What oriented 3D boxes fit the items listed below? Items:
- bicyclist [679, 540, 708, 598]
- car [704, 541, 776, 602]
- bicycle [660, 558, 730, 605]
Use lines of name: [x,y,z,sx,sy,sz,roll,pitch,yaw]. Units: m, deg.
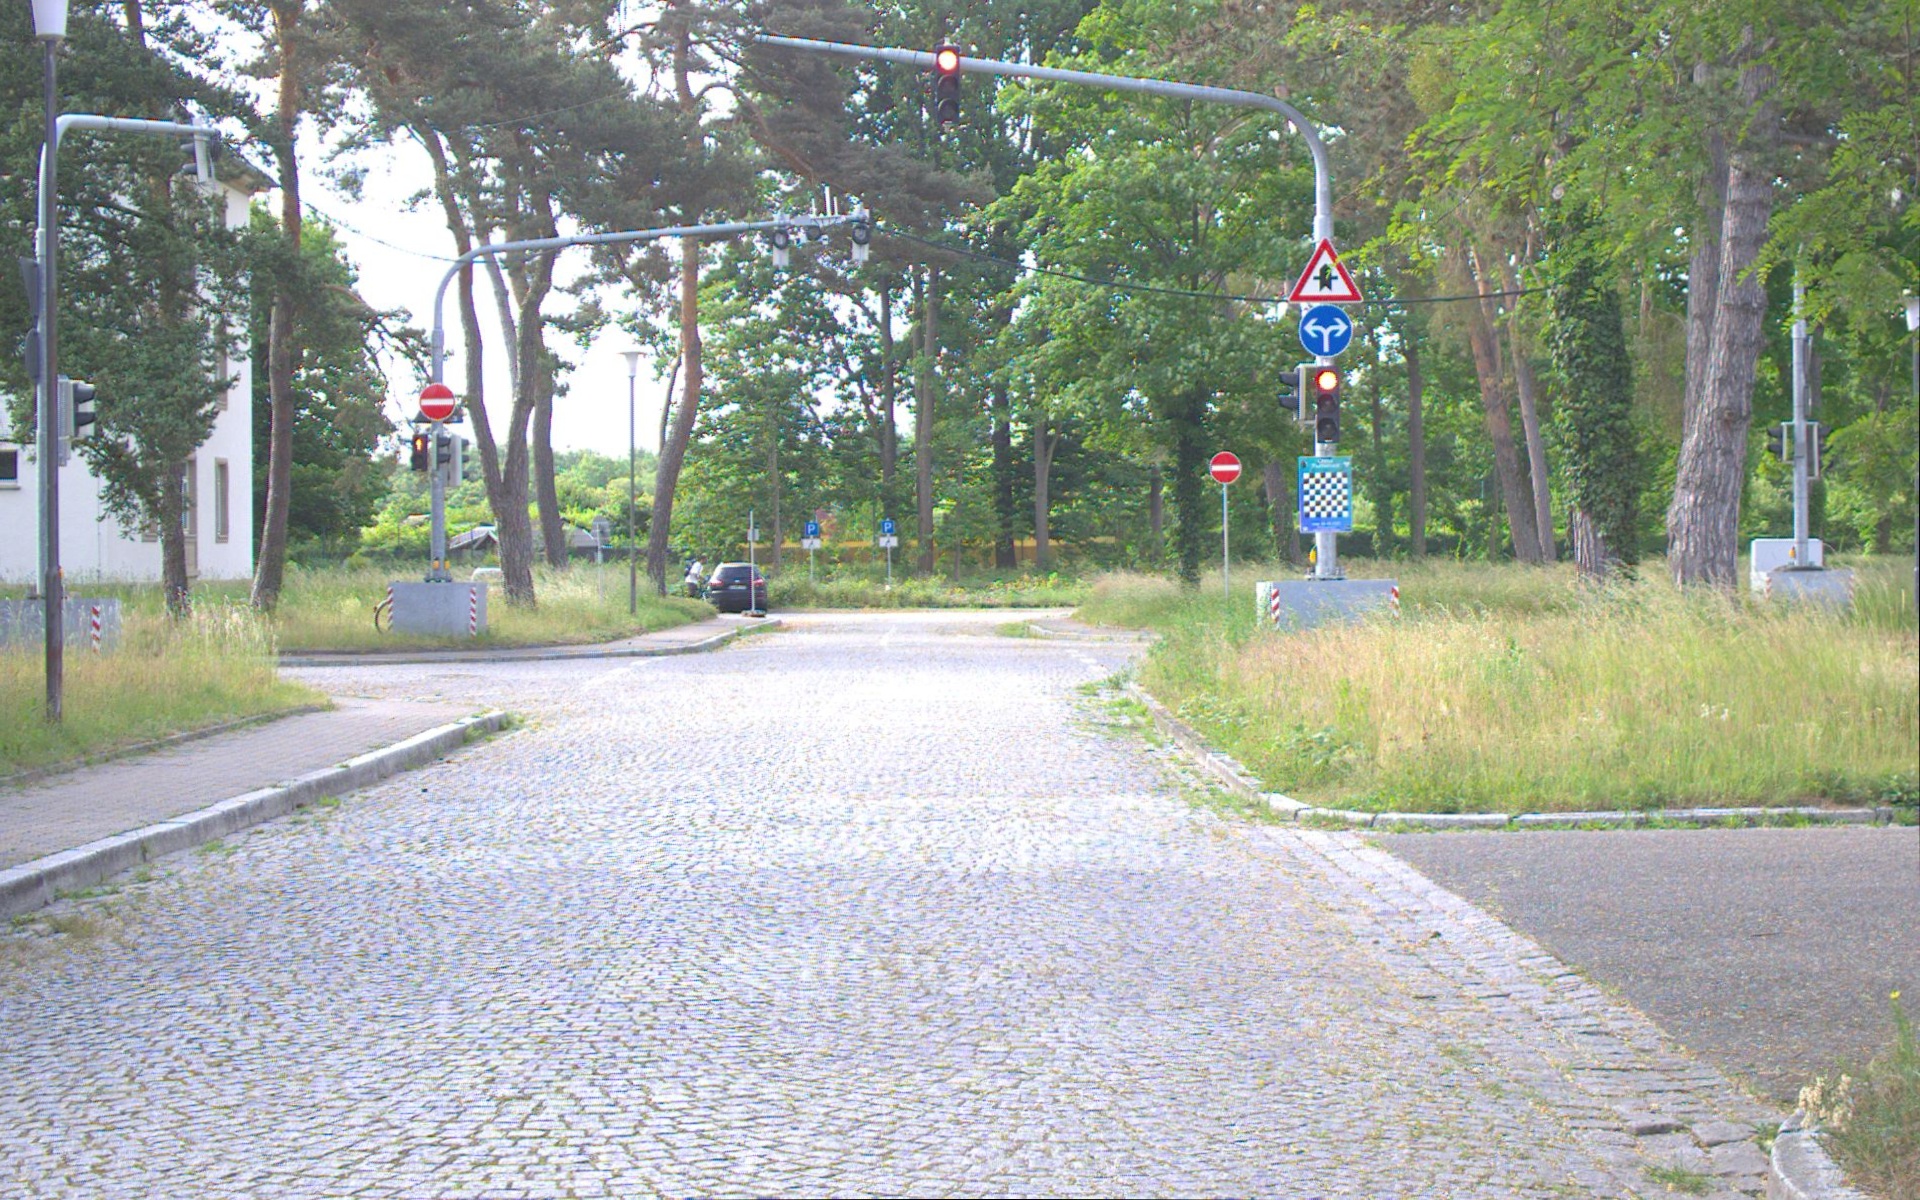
bicyclist: [-7.724,-0.887,99.570,0.749,1.665,0.526,1,0,1]
car: [-6.789,-0.894,106.423,2.056,1.840,4.000,-1,1,-1]
bicycle: [-7.667,-0.539,99.573,1.969,1.316,0.518,1,0,1]
